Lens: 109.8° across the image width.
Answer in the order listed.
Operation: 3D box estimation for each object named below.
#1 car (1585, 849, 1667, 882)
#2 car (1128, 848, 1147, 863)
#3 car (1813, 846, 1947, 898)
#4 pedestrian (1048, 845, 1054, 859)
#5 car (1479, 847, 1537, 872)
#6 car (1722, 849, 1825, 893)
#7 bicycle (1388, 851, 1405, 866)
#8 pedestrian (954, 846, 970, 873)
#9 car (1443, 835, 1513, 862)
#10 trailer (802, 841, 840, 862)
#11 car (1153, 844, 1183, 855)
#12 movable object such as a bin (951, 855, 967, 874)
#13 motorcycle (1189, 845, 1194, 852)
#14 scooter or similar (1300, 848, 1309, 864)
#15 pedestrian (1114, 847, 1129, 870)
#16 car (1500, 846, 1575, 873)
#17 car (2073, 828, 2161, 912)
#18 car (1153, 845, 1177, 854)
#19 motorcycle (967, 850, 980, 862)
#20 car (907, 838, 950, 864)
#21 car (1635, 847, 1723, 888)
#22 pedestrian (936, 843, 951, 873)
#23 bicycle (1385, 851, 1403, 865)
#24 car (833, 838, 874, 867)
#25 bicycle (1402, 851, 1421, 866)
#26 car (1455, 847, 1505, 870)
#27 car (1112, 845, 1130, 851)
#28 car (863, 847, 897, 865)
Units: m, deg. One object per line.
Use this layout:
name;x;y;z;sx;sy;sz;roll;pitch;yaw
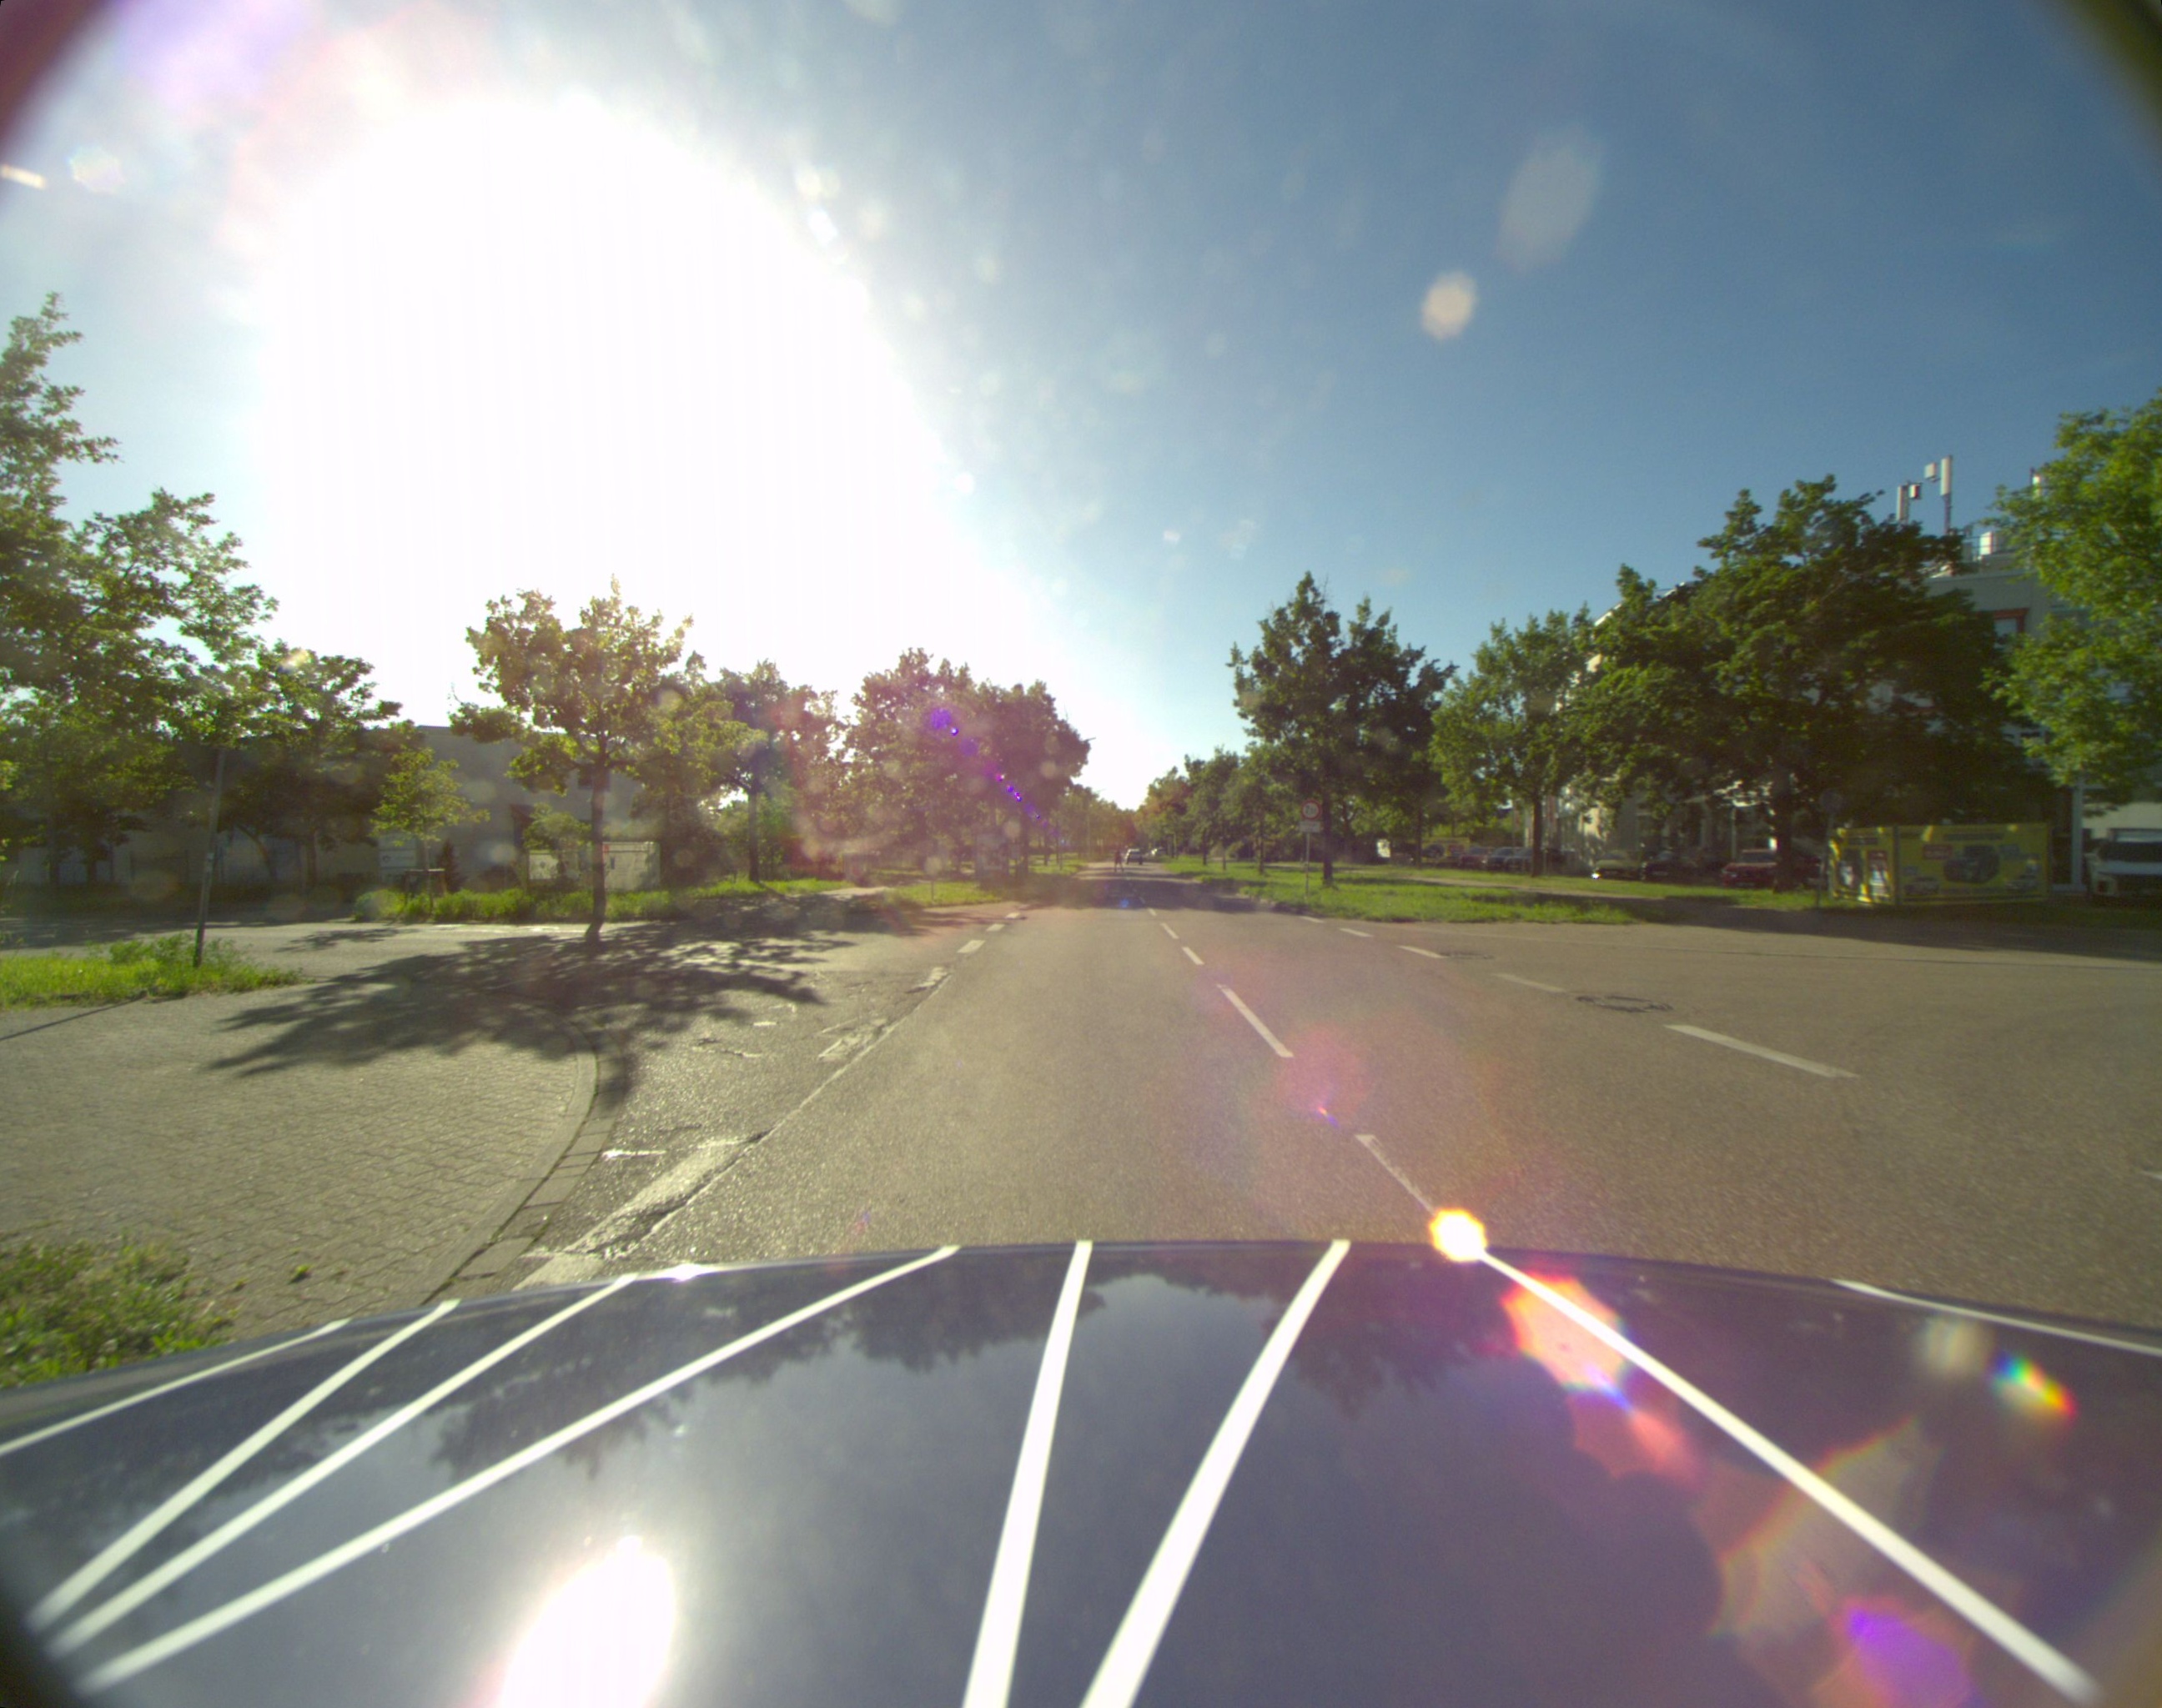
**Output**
car;24.725;0.493;34.445;3.961;1.393;1.994;-1;1;-39
car;5.692;0.103;77.053;1.748;1.456;4.427;0;0;3
car;26.006;0.535;24.721;4.176;1.553;1.995;-1;1;-29
pedestrian;-3.772;-0.273;95.511;0.727;1.802;0.867;0;2;2
car;26.241;0.306;46.693;4.008;1.440;1.796;-1;1;-40
car;25.759;0.573;28.228;4.178;1.482;1.994;-1;1;-36
bicycle;24.013;0.317;57.841;0.640;1.081;1.891;0;1;2
pedestrian;-7.136;0.314;45.601;0.727;1.594;0.867;0;1;2
car;28.218;-0.369;54.126;4.023;1.773;2.027;-2;0;14
trailer;-28.885;-0.299;84.441;2.192;2.294;3.793;0;1;15
car;14.379;-0.745;125.676;4.637;1.549;2.191;-2;0;1
movable object such as a bin;-7.193;0.604;44.733;0.727;1.075;0.867;2;1;2
motorcycle;21.205;-1.045;145.780;0.739;1.424;1.992;-4;1;6
scooter or similar;17.717;0.139;60.148;0.396;1.272;1.441;0;1;4
pedestrian;2.927;0.314;55.147;1.022;1.642;1.099;0;1;1
car;26.186;0.311;43.556;4.005;1.502;1.797;-1;0;-26
car;27.504;0.355;19.730;4.868;2.002;1.994;-1;1;-39
car;16.249;-0.849;146.584;4.421;1.547;2.089;-2;1;7
motorcycle;-12.975;0.212;91.863;0.663;1.225;2.407;0;5;15
car;-16.310;-0.282;81.744;2.087;2.550;5.980;-2;-2;15
car;24.407;0.492;30.978;4.178;1.529;1.891;-1;1;-39
pedestrian;-8.101;0.217;44.828;0.727;1.745;0.867;0;1;2
bicycle;24.392;0.306;59.231;0.640;1.081;1.891;0;1;2
car;-21.231;-0.148;71.066;2.165;2.628;4.851;0;1;3
bicycle;24.995;0.326;57.487;0.640;1.081;1.891;0;1;2
car;26.448;0.249;50.331;4.008;1.440;1.796;-1;1;-45
car;10.700;-1.600;203.375;4.509;1.471;1.942;0;1;7
car;-18.615;0.179;70.364;2.010;1.654;3.597;0;1;3
